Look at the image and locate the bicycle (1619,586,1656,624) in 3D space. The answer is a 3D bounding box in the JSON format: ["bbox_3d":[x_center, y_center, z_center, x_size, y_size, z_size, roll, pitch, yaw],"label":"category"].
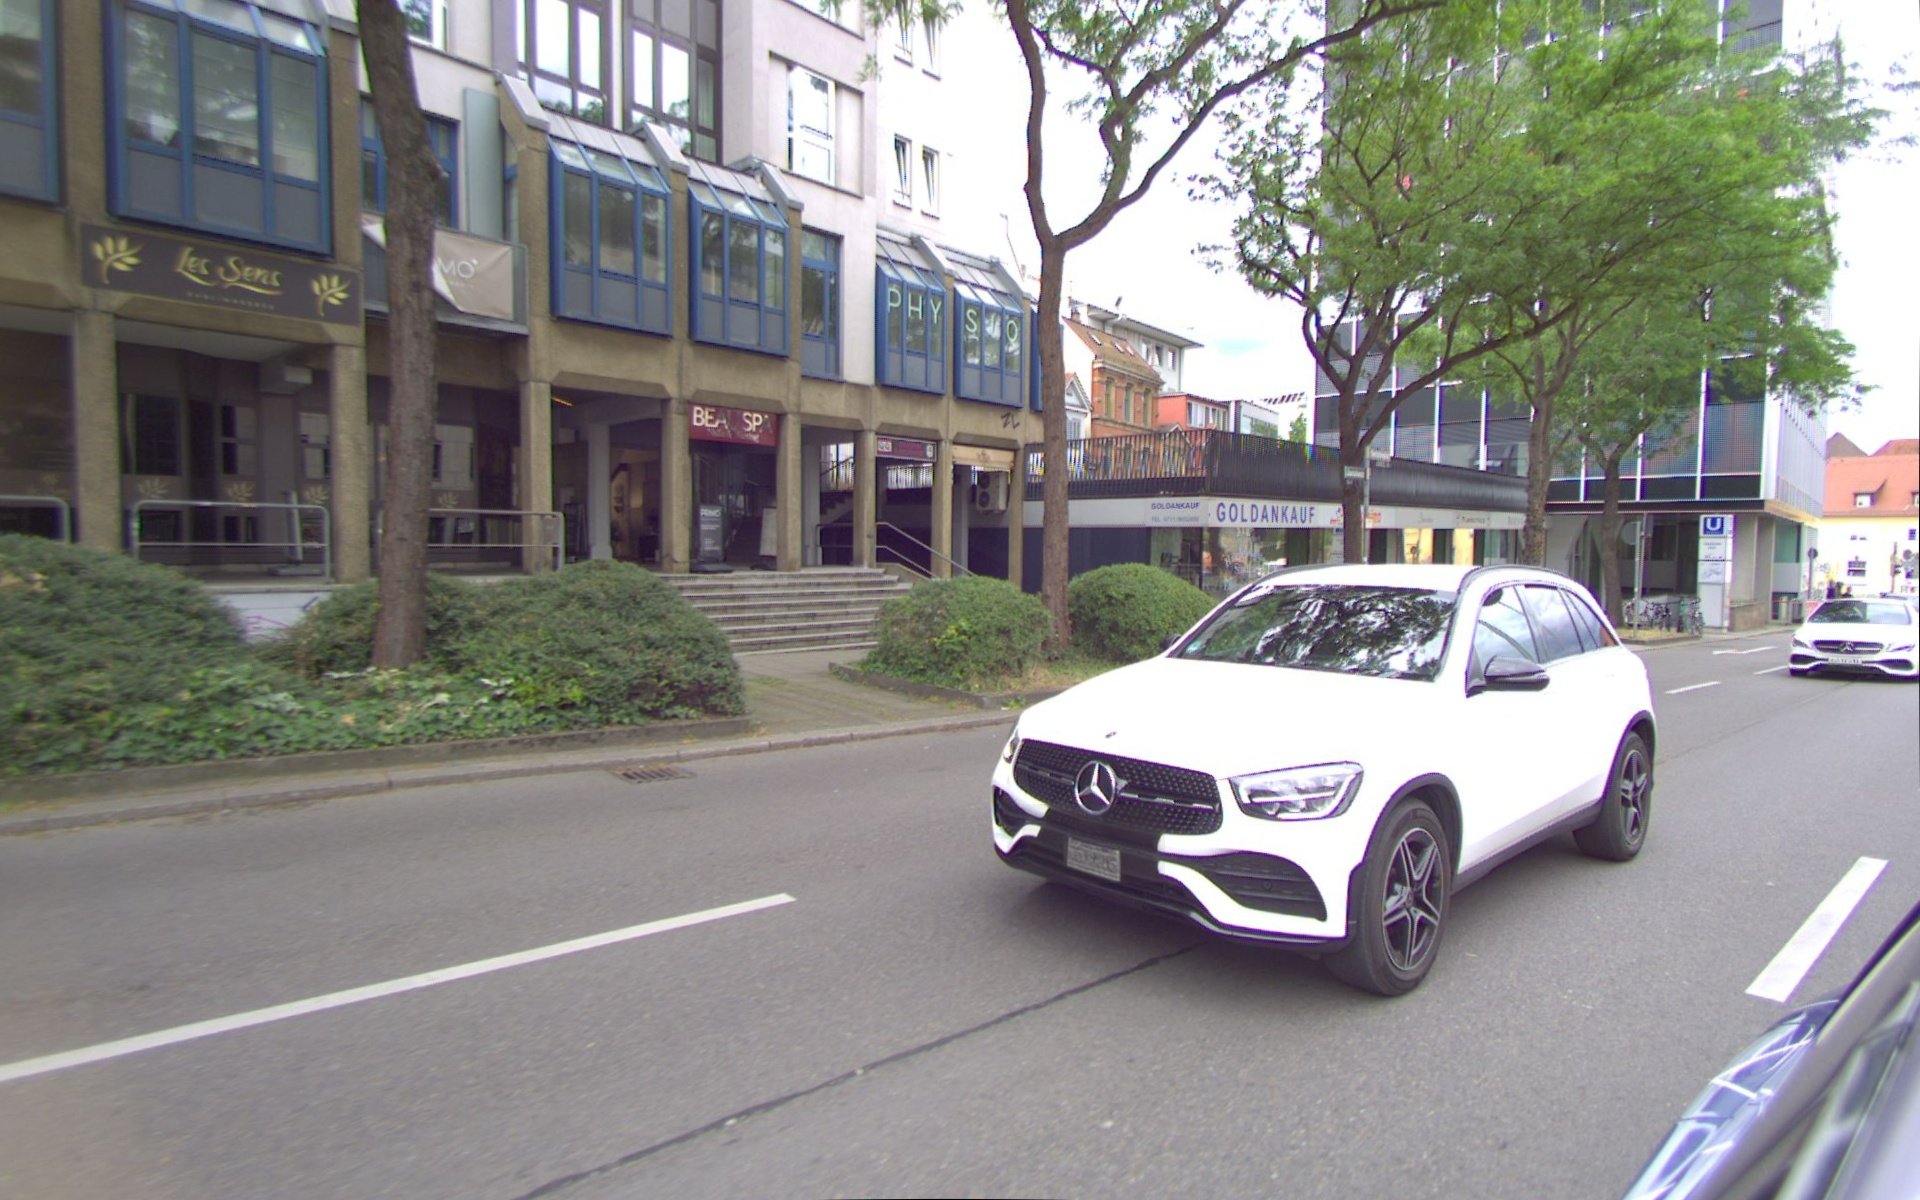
[{"bbox_3d":[21.474,0.142,32.068,1.659,1.146,0.490,-1,3,-41],"label":"bicycle"}]

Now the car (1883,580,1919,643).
[{"bbox_3d":[25.658,0.307,26.544,3.698,1.551,1.706,0,3,-42],"label":"car"}]

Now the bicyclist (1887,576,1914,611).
[{"bbox_3d":[44.325,-0.302,47.691,0.558,1.568,0.841,3,3,20],"label":"bicyclist"}]

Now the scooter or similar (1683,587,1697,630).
[{"bbox_3d":[22.441,0.256,31.126,0.305,1.267,0.984,3,3,36],"label":"scooter or similar"}]

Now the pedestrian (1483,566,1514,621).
[{"bbox_3d":[16.557,-0.218,31.129,0.596,1.648,0.745,4,3,43],"label":"pedestrian"}]

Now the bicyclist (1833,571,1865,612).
[{"bbox_3d":[42.079,-0.422,47.897,0.661,1.868,0.816,1,3,-17],"label":"bicyclist"}]

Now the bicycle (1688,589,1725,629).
[{"bbox_3d":[22.489,0.244,30.475,1.812,1.146,0.490,-1,3,-42],"label":"bicycle"}]

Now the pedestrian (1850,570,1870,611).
[{"bbox_3d":[39.613,-0.420,44.521,0.525,1.731,0.741,5,6,43],"label":"pedestrian"}]

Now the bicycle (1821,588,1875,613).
[{"bbox_3d":[42.066,0.010,47.965,0.666,1.019,1.773,3,3,-16],"label":"bicycle"}]

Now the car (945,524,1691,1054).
[{"bbox_3d":[2.119,0.541,5.264,4.258,1.667,1.805,-1,2,-41],"label":"car"}]

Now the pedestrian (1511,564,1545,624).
[{"bbox_3d":[17.171,-0.185,30.577,0.596,1.775,0.926,4,3,43],"label":"pedestrian"}]

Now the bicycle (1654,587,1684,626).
[{"bbox_3d":[21.921,0.196,31.274,0.489,1.146,1.858,3,3,43],"label":"bicycle"}]

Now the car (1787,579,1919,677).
[{"bbox_3d":[16.838,0.418,18.569,4.572,1.589,1.868,-1,2,-42],"label":"car"}]

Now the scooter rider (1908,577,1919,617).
[{"bbox_3d":[45.549,-0.135,47.931,0.583,1.830,0.642,2,3,8],"label":"scooter rider"}]
